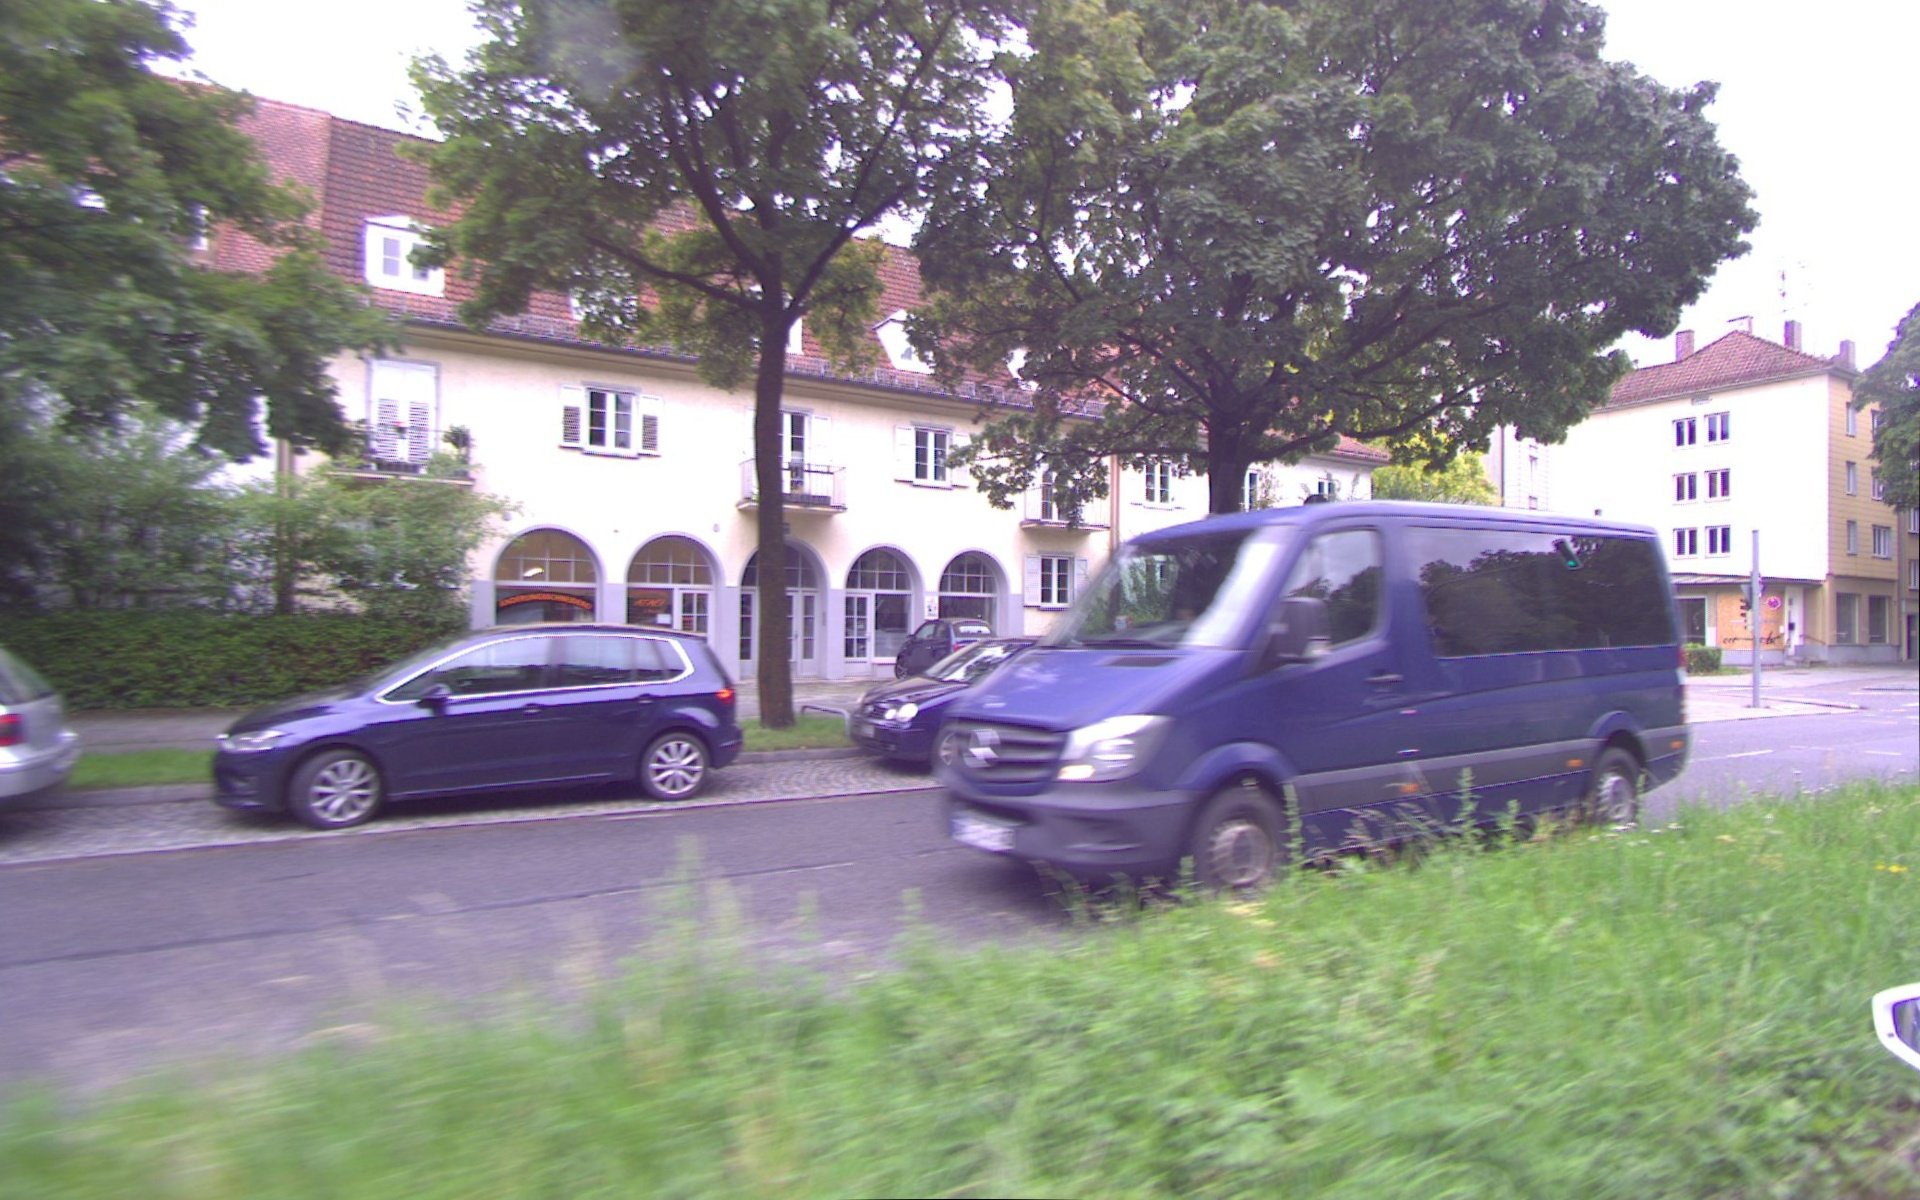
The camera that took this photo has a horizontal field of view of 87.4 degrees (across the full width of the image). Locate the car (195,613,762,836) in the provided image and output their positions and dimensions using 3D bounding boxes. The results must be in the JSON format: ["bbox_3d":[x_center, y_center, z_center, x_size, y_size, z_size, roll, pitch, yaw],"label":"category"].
[{"bbox_3d":[-4.091,0.949,9.020,4.252,1.583,1.657,1,-2,-33],"label":"car"}]

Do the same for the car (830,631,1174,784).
[{"bbox_3d":[0.532,1.152,11.845,3.790,1.469,1.557,1,1,-29],"label":"car"}]

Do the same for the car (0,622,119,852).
[{"bbox_3d":[-8.434,0.907,6.509,4.324,1.464,1.658,1,1,-31],"label":"car"}]

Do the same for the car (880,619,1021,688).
[{"bbox_3d":[-0.296,1.194,23.325,1.653,1.481,3.613,1,-2,-32],"label":"car"}]

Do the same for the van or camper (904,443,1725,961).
[{"bbox_3d":[2.702,0.533,6.885,5.954,2.290,2.013,1,-2,-32],"label":"van or camper"}]
